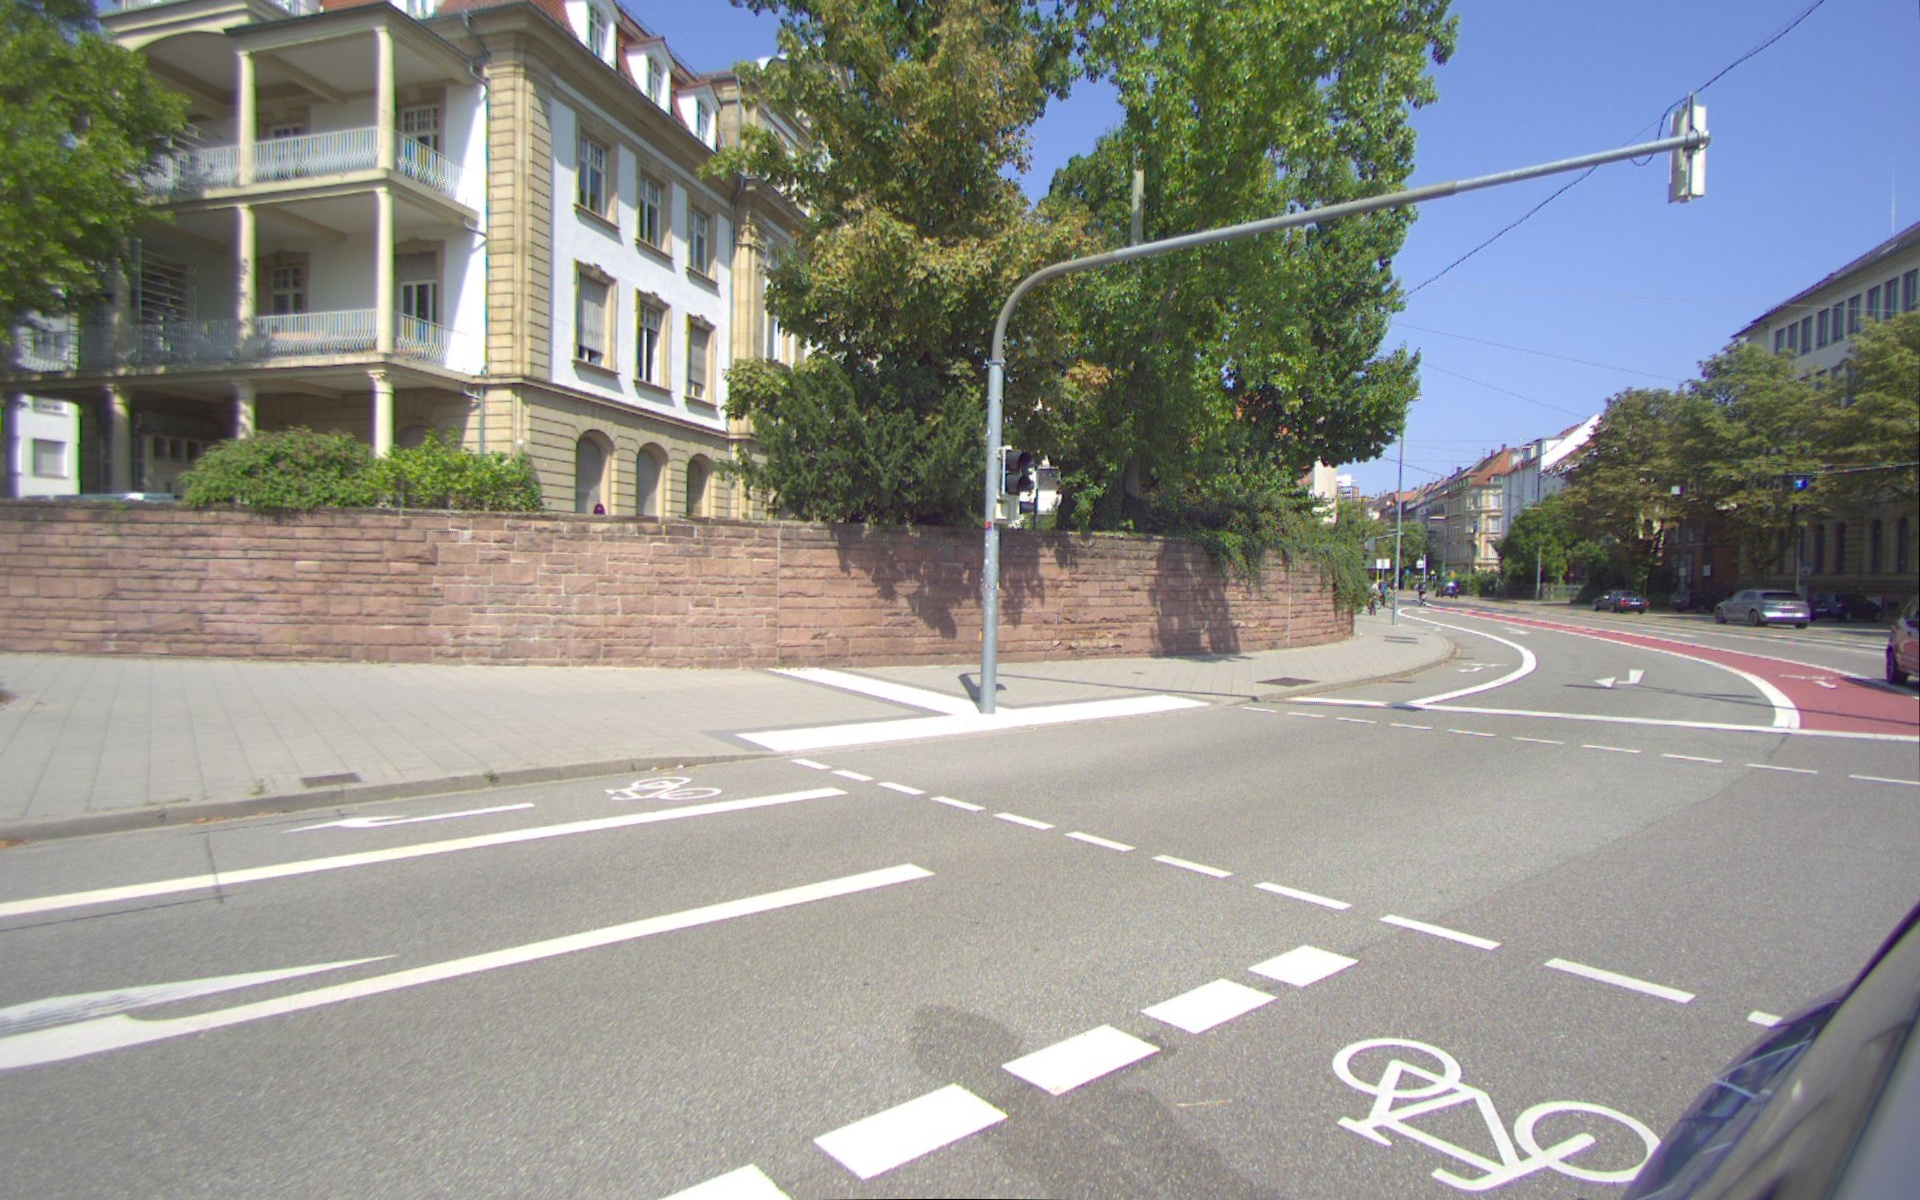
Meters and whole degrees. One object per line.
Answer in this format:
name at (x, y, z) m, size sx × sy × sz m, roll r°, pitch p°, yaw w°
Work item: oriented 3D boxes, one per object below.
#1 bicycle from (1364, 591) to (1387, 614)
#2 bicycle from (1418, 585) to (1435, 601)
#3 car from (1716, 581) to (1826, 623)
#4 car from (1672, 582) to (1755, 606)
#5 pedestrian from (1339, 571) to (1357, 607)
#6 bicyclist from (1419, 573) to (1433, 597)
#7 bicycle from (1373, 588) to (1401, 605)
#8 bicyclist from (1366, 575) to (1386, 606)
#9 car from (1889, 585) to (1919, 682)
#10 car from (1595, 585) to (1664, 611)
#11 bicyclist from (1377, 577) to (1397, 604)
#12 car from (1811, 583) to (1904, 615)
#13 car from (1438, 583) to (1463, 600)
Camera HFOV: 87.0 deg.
bicycle at (19.796, 0.117, 48.219) m, size 0.731 × 1.062 × 2.223 m, roll 1°, pitch 1°, yaw 15°
bicycle at (31.715, -0.465, 68.833) m, size 0.606 × 1.012 × 1.706 m, roll 2°, pitch 1°, yaw 11°
car at (34.797, 0.040, 43.580) m, size 1.750 × 1.630 × 4.657 m, roll 2°, pitch 2°, yaw 12°
car at (48.785, -0.415, 65.539) m, size 4.337 × 1.480 × 1.825 m, roll 0°, pitch 1°, yaw -11°
pedestrian at (18.496, -0.546, 48.277) m, size 0.720 × 1.686 × 0.874 m, roll 1°, pitch 1°, yaw 18°
bicyclist at (31.757, -1.012, 68.929) m, size 0.618 × 1.618 × 0.989 m, roll 2°, pitch 1°, yaw 12°
bicycle at (26.666, -0.207, 63.209) m, size 1.676 × 1.012 × 0.617 m, roll 2°, pitch 1°, yaw -29°
bicyclist at (19.753, -0.455, 48.087) m, size 0.737 × 1.429 × 0.957 m, roll 1°, pitch 1°, yaw 16°
car at (16.476, 0.564, 16.134) m, size 1.804 × 1.570 × 3.973 m, roll 1°, pitch 1°, yaw 34°
car at (39.421, -0.150, 59.727) m, size 1.666 × 1.395 × 4.605 m, roll 1°, pitch 2°, yaw 10°
bicyclist at (26.688, -0.592, 63.201) m, size 0.885 × 1.558 × 0.629 m, roll 3°, pitch 2°, yaw -29°
car at (45.035, -0.050, 50.808) m, size 4.076 × 1.514 × 1.825 m, roll 1°, pitch 1°, yaw -21°
car at (51.120, -0.898, 105.479) m, size 1.673 × 1.675 × 3.564 m, roll 1°, pitch 1°, yaw 15°
